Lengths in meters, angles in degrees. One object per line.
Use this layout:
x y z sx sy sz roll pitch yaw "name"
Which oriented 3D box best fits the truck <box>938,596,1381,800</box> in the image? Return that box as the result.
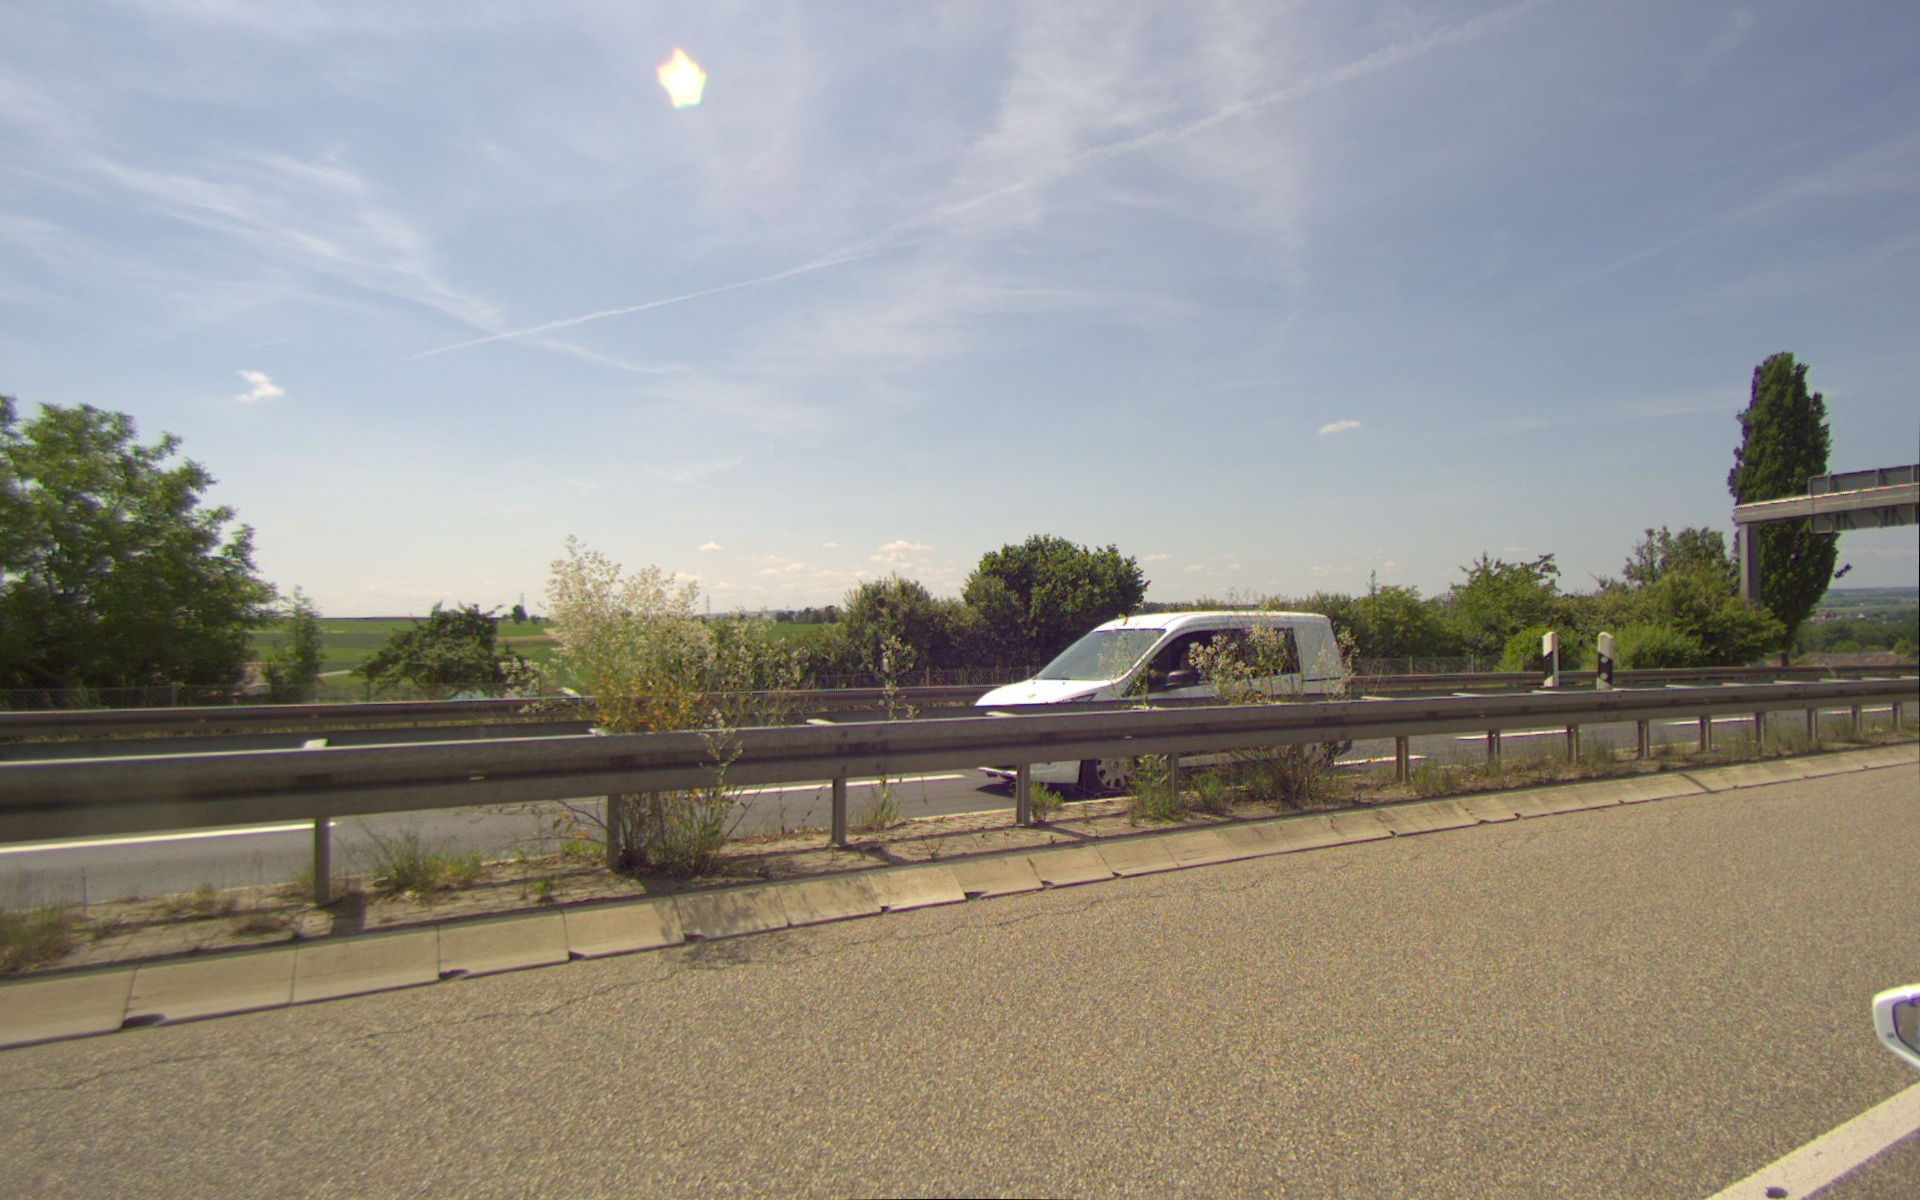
2.158 0.983 10.639 4.482 1.771 1.842 2 -5 -29 "truck"
